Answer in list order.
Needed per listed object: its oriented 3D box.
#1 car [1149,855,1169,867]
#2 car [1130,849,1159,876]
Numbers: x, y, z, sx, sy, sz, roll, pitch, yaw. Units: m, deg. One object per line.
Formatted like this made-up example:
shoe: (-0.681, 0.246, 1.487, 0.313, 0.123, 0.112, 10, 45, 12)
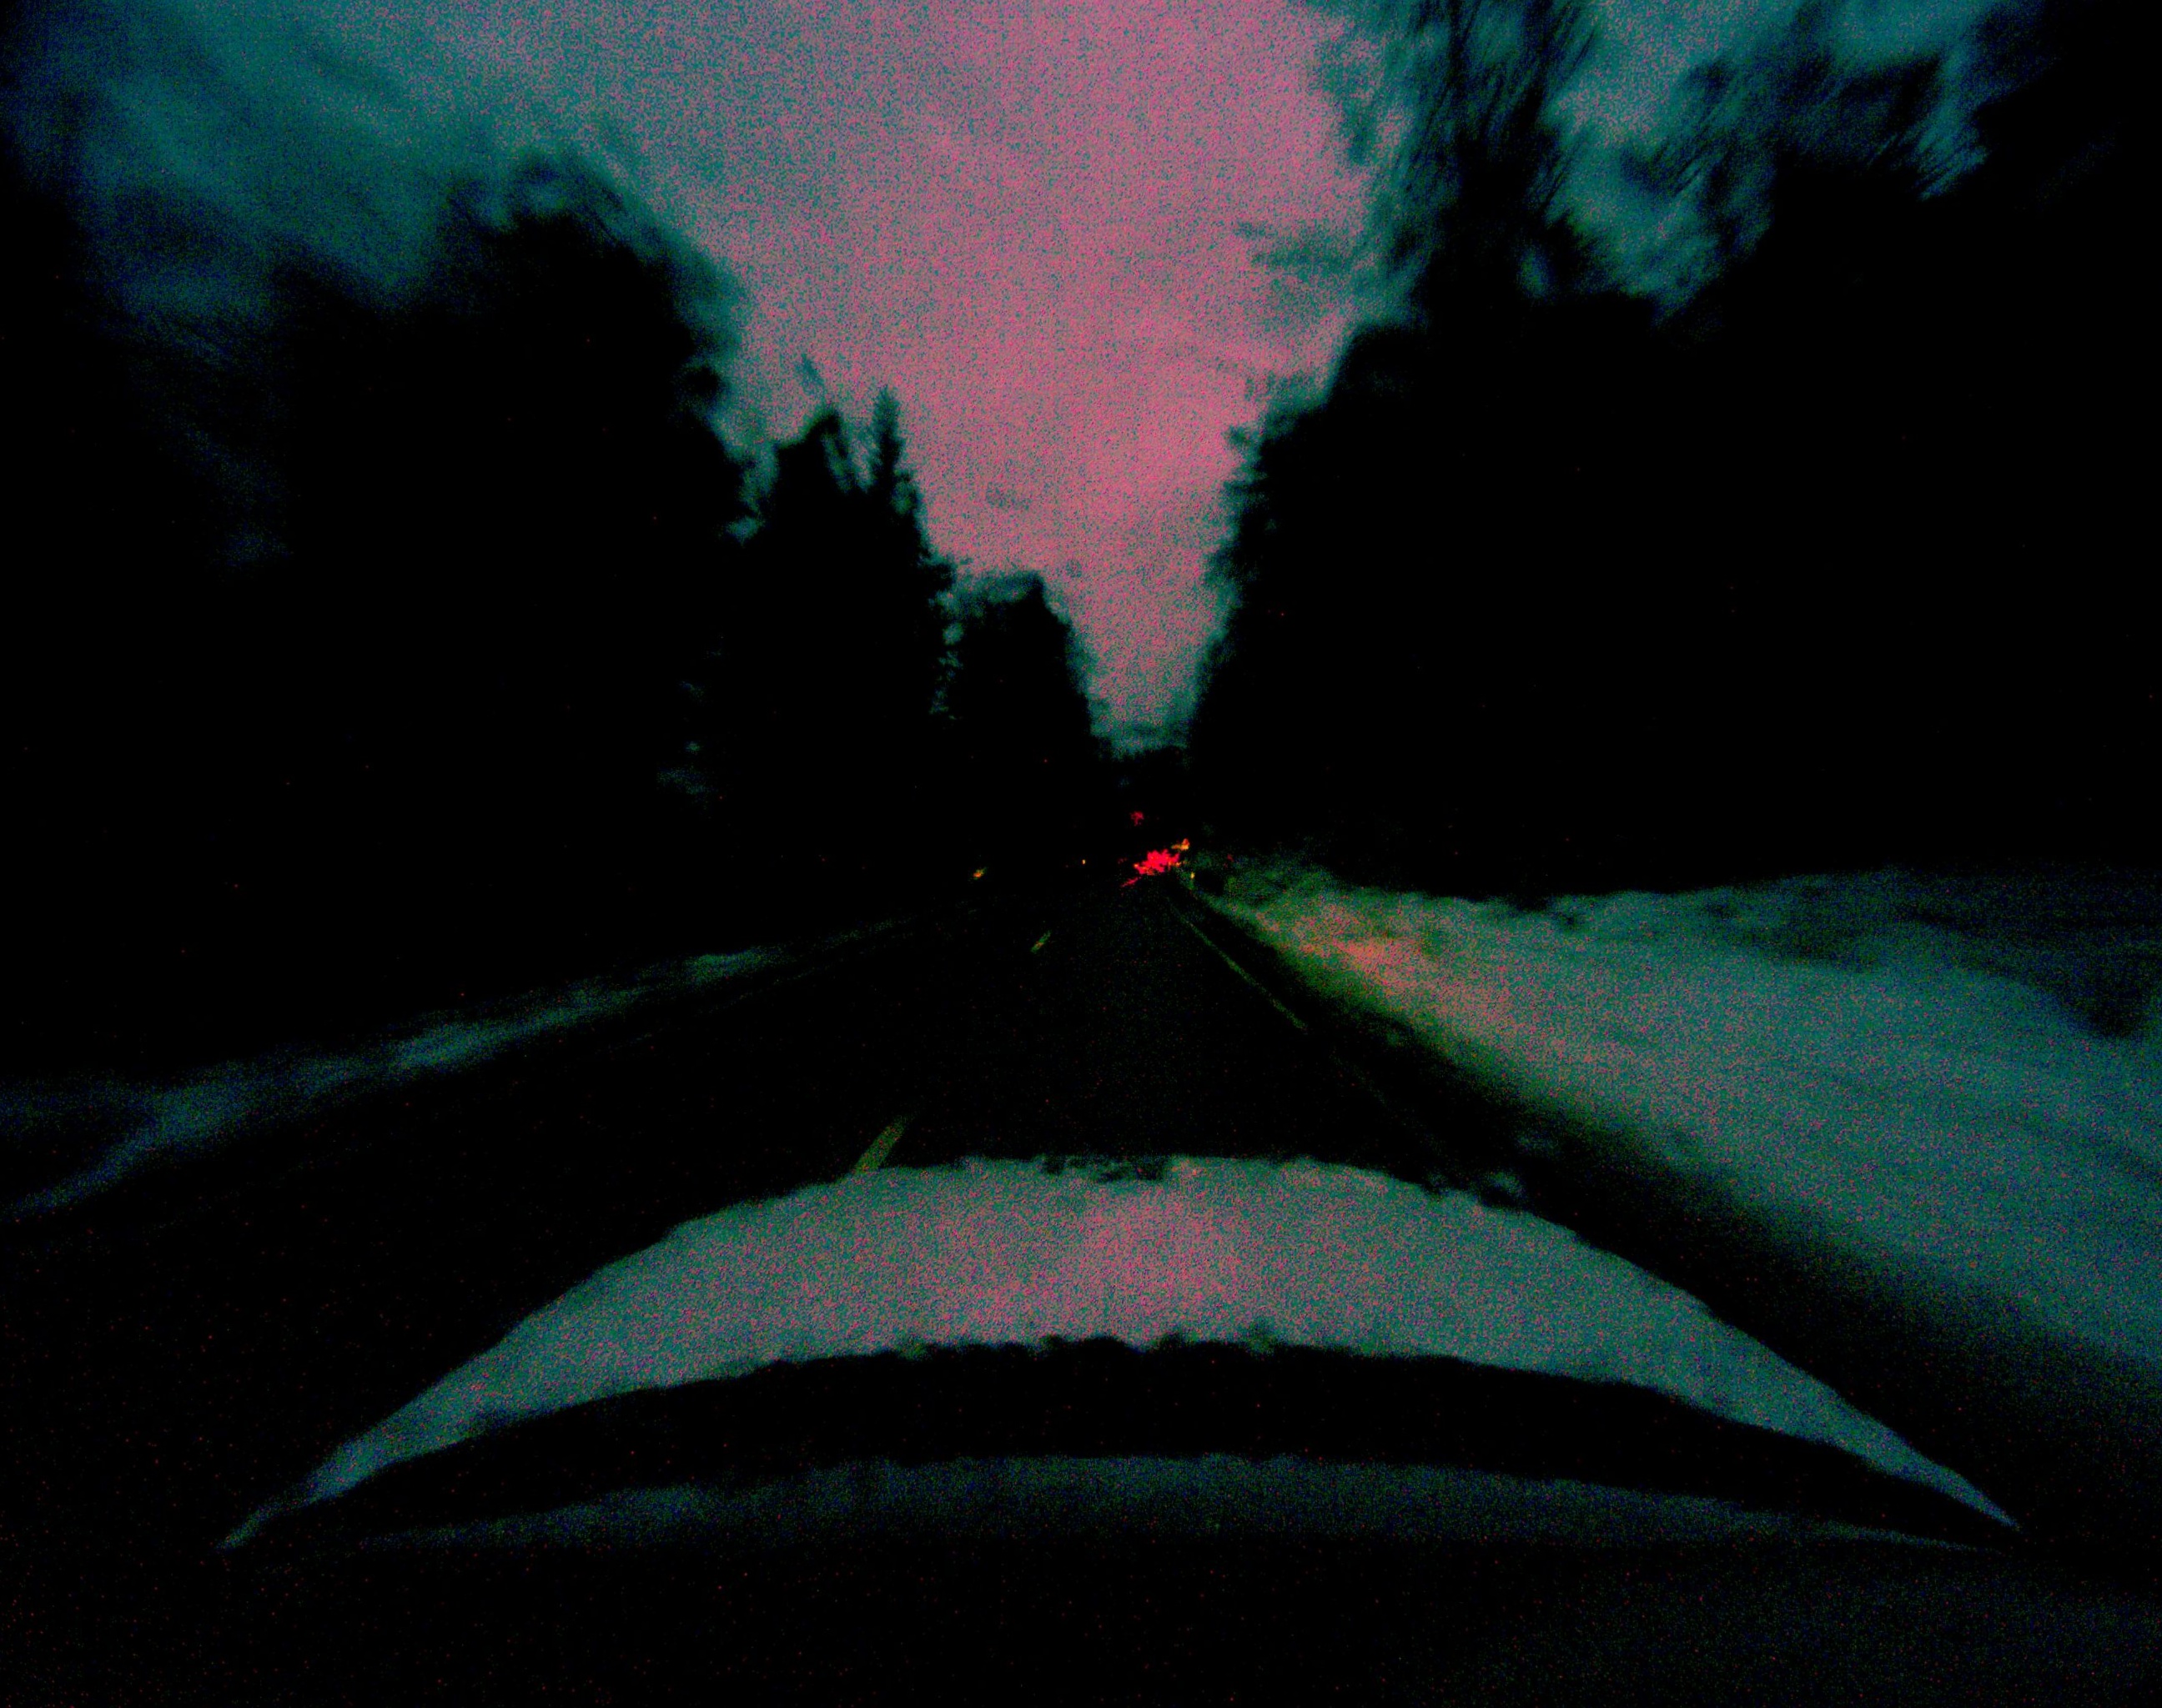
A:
car: (9.626, 0.823, 100.774, 1.988, 1.310, 3.998, -4, 0, -1)
car: (4.956, 0.609, 63.241, 1.983, 1.872, 4.007, -4, 0, 6)
